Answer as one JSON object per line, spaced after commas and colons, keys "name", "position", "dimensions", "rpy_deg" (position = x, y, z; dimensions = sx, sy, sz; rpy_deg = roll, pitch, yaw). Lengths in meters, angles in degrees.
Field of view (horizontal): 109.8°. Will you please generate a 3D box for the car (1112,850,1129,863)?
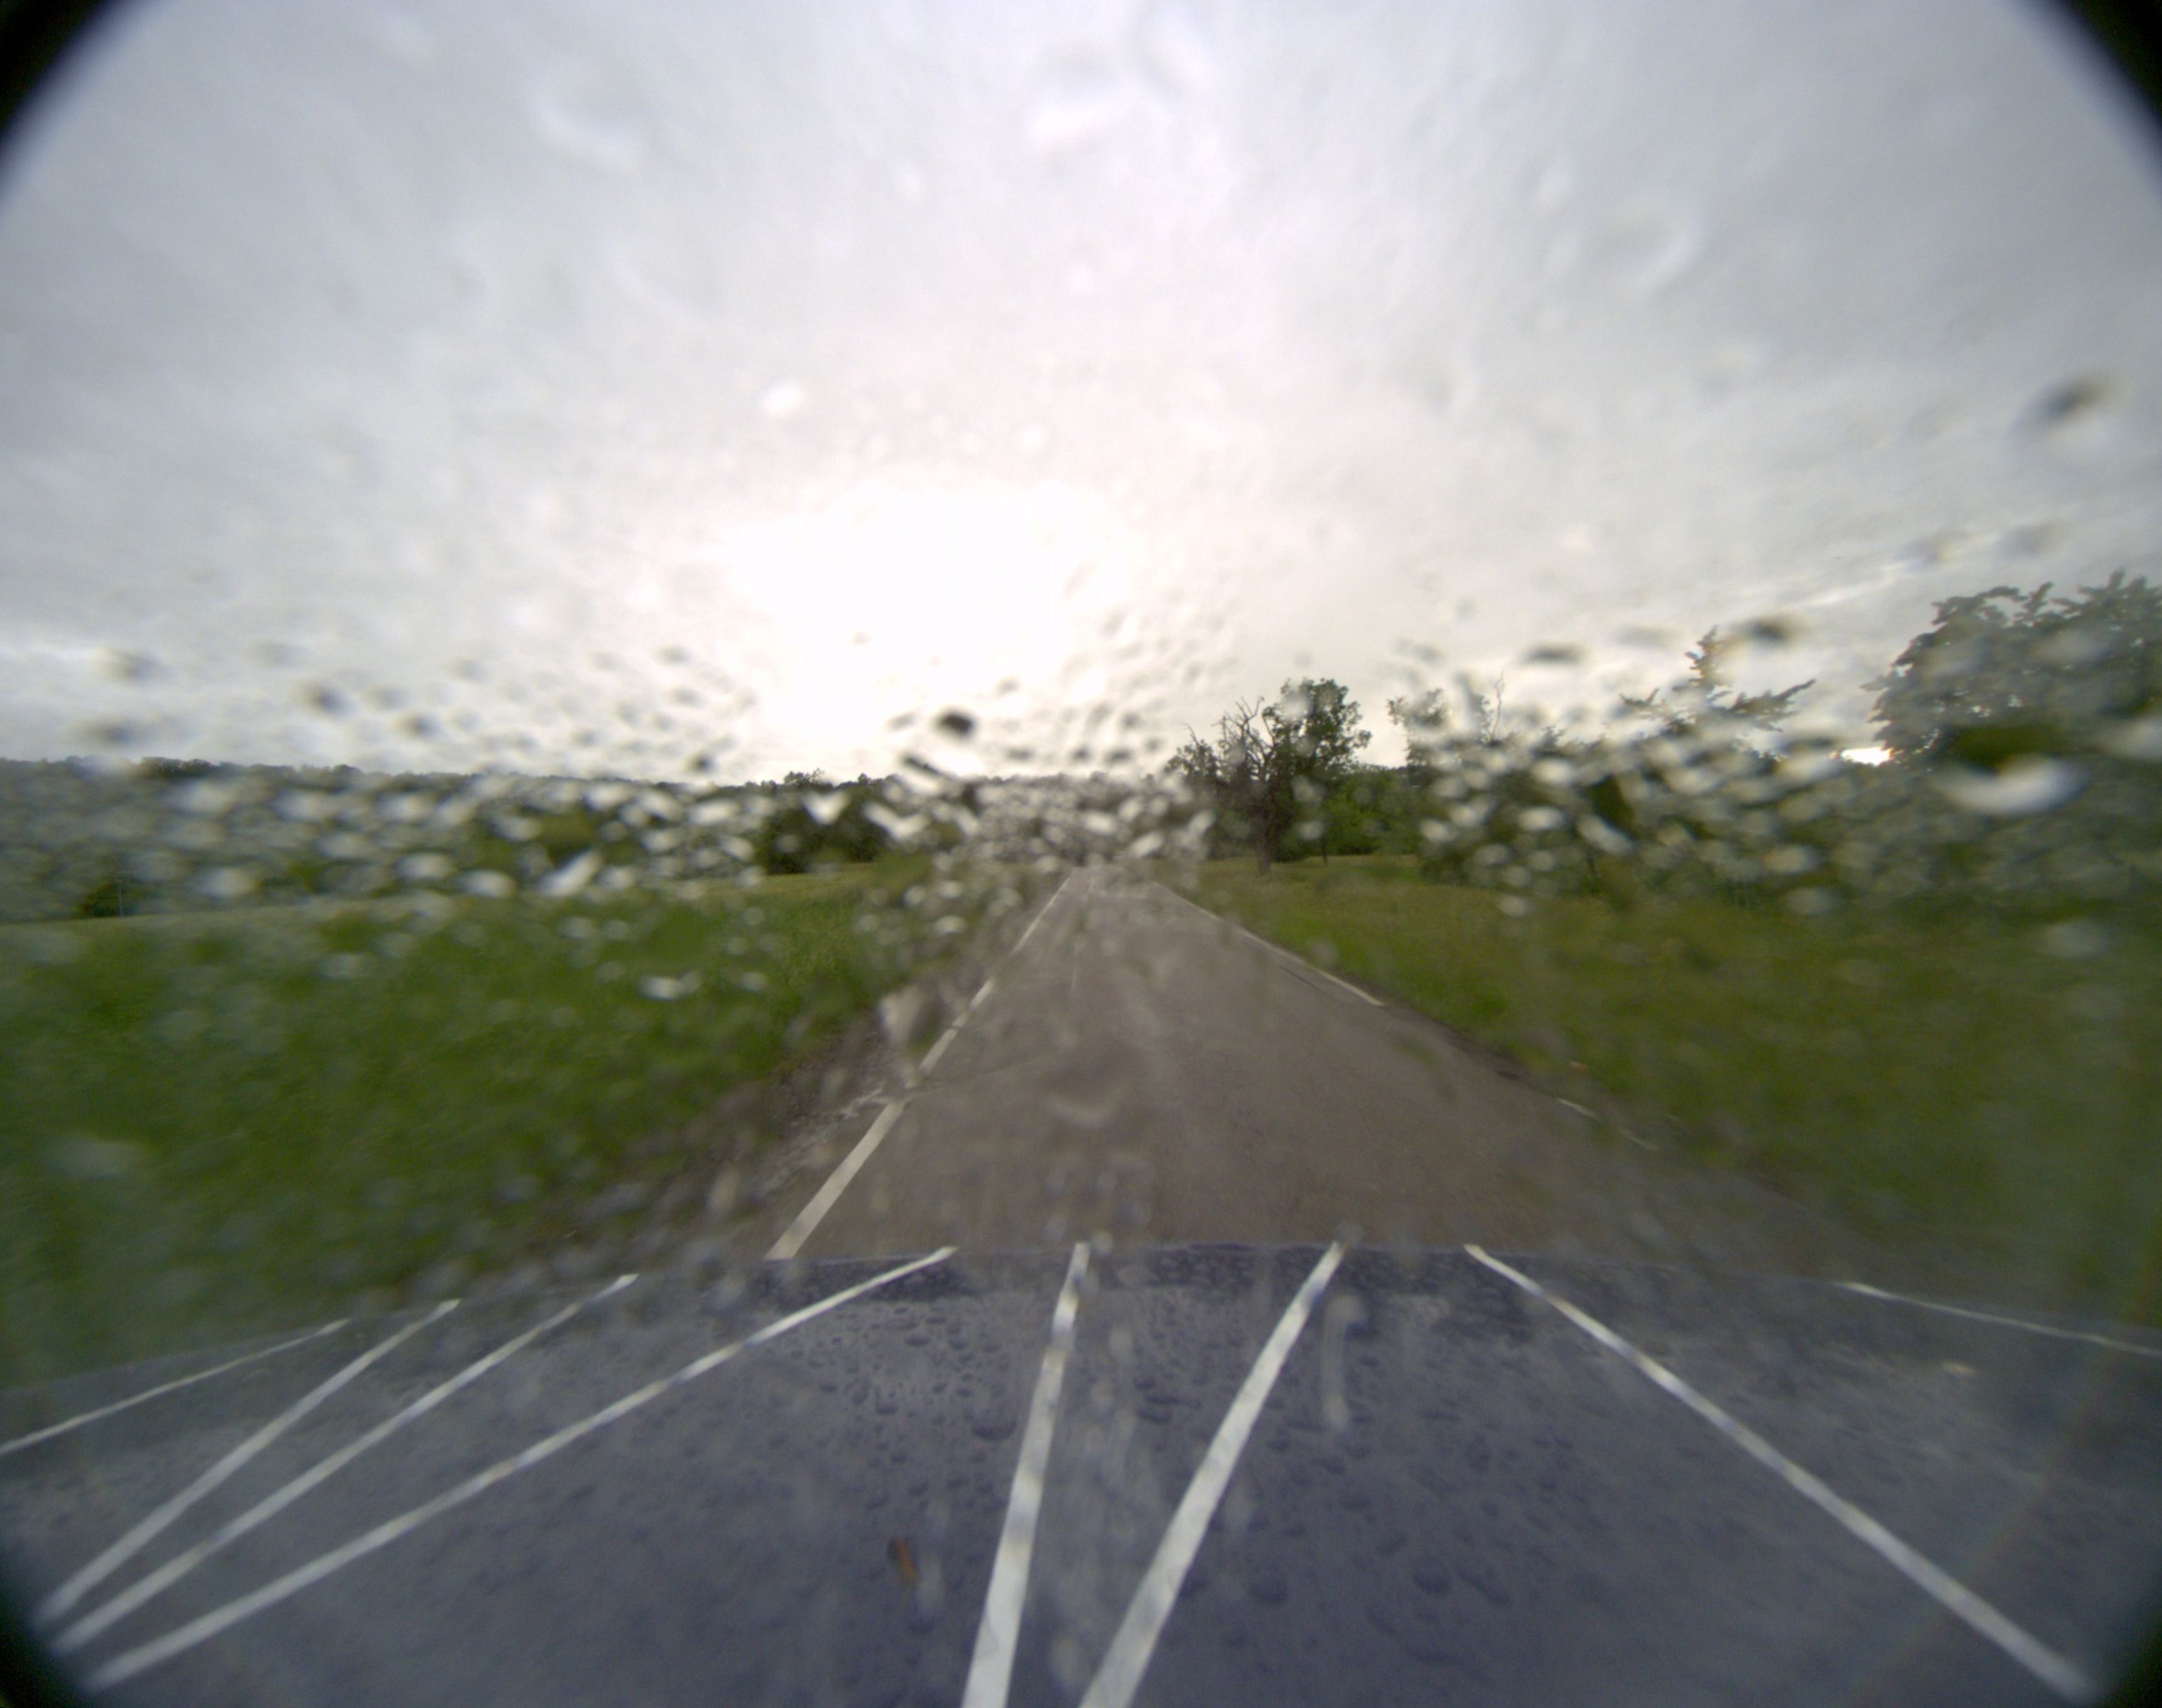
{"name": "car", "position": [4.957, 0.324, 96.162], "dimensions": [1.744, 1.463, 4.121], "rpy_deg": [-2, 1, -3]}
